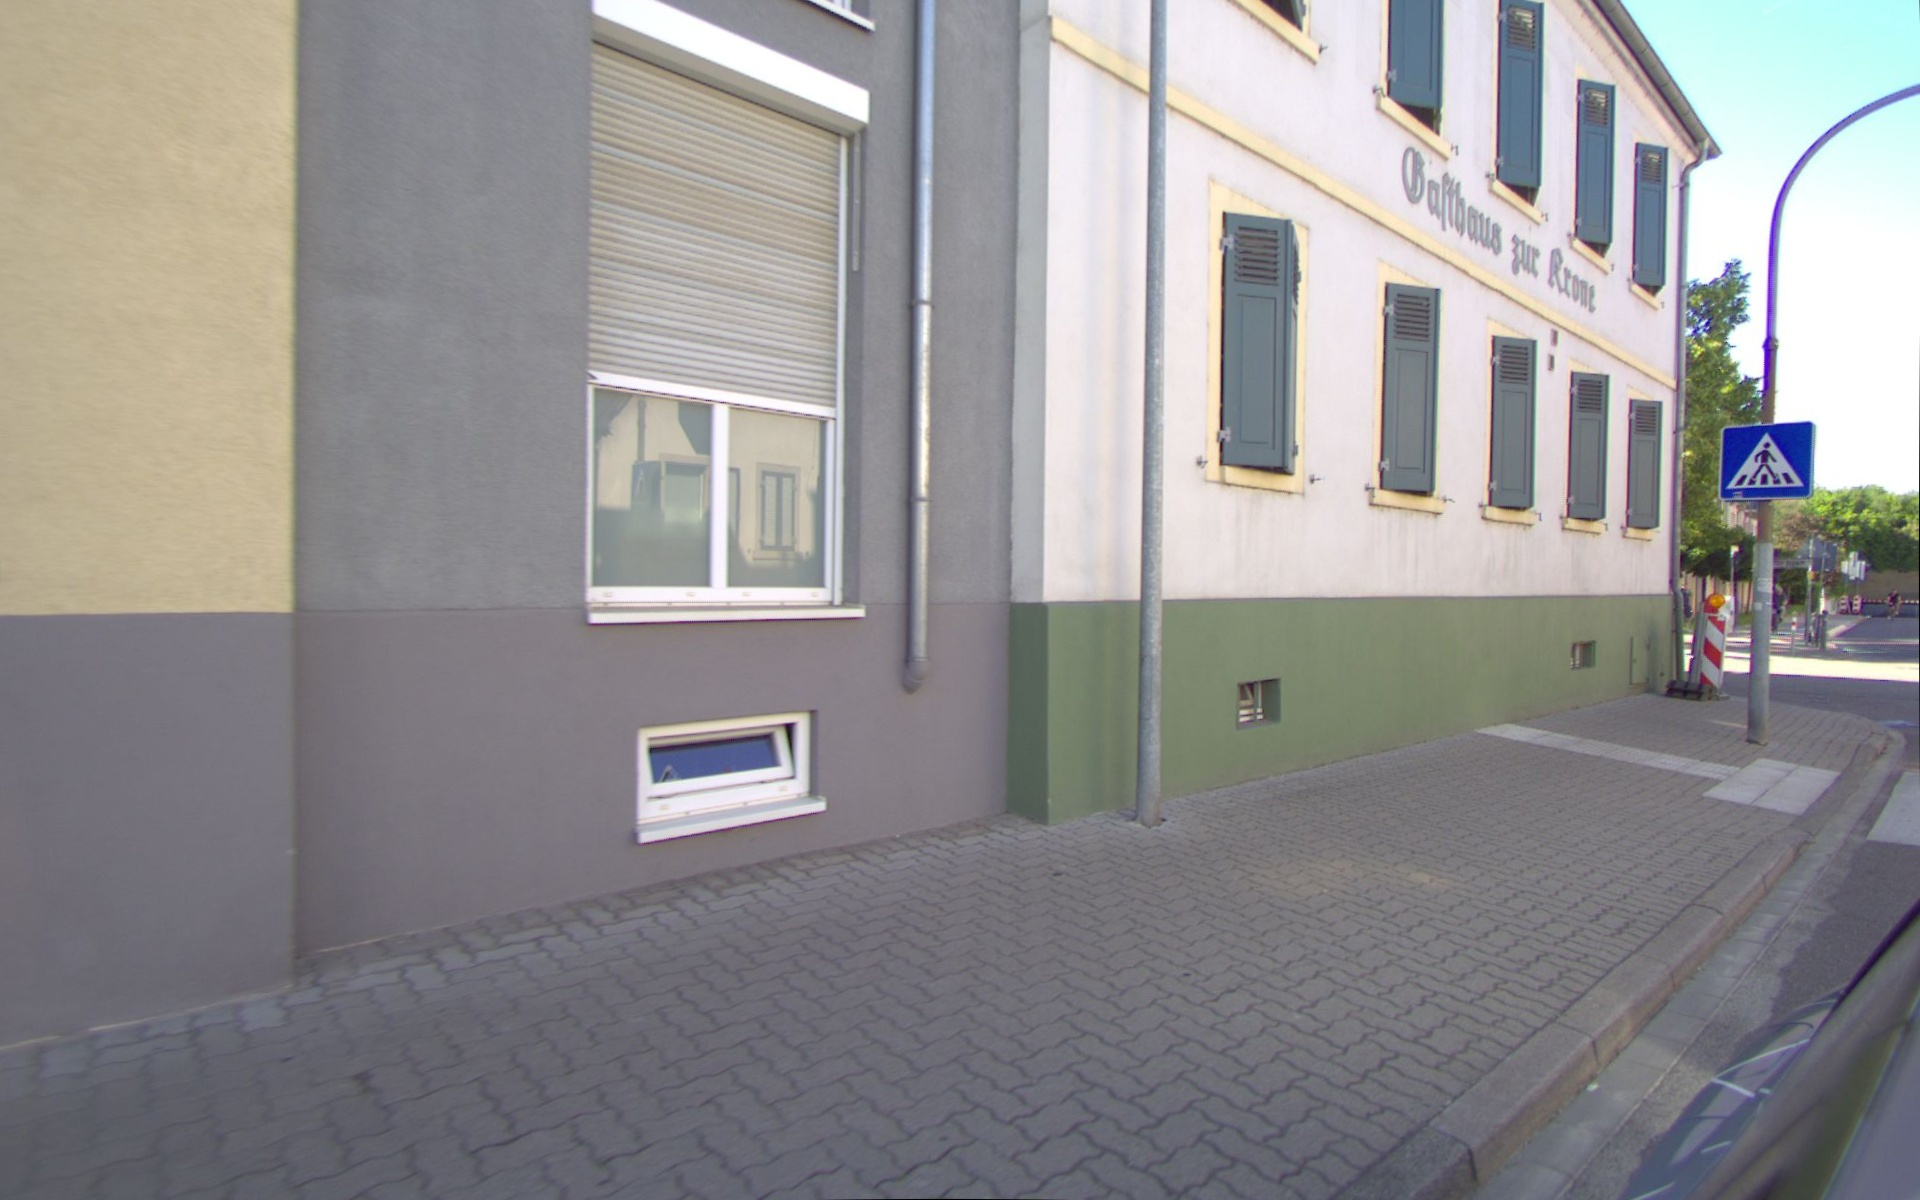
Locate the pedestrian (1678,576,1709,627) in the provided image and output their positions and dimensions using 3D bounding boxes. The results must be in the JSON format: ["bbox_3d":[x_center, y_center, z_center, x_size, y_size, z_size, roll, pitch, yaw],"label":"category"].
[{"bbox_3d":[25.376,0.051,35.002,0.812,1.738,0.660,0,1,-39],"label":"pedestrian"}]

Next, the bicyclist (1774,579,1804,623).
[{"bbox_3d":[31.302,0.028,38.201,0.668,1.557,0.900,7,5,45],"label":"bicyclist"}]

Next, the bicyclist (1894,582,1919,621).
[{"bbox_3d":[56.658,0.091,60.407,1.222,2.337,1.254,-1,-1,-44],"label":"bicyclist"}]

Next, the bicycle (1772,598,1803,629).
[{"bbox_3d":[31.242,0.505,38.215,0.668,1.076,1.788,7,6,45],"label":"bicycle"}]

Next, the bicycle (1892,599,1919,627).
[{"bbox_3d":[56.626,0.778,60.334,3.934,1.571,1.254,-1,0,-44],"label":"bicycle"}]
